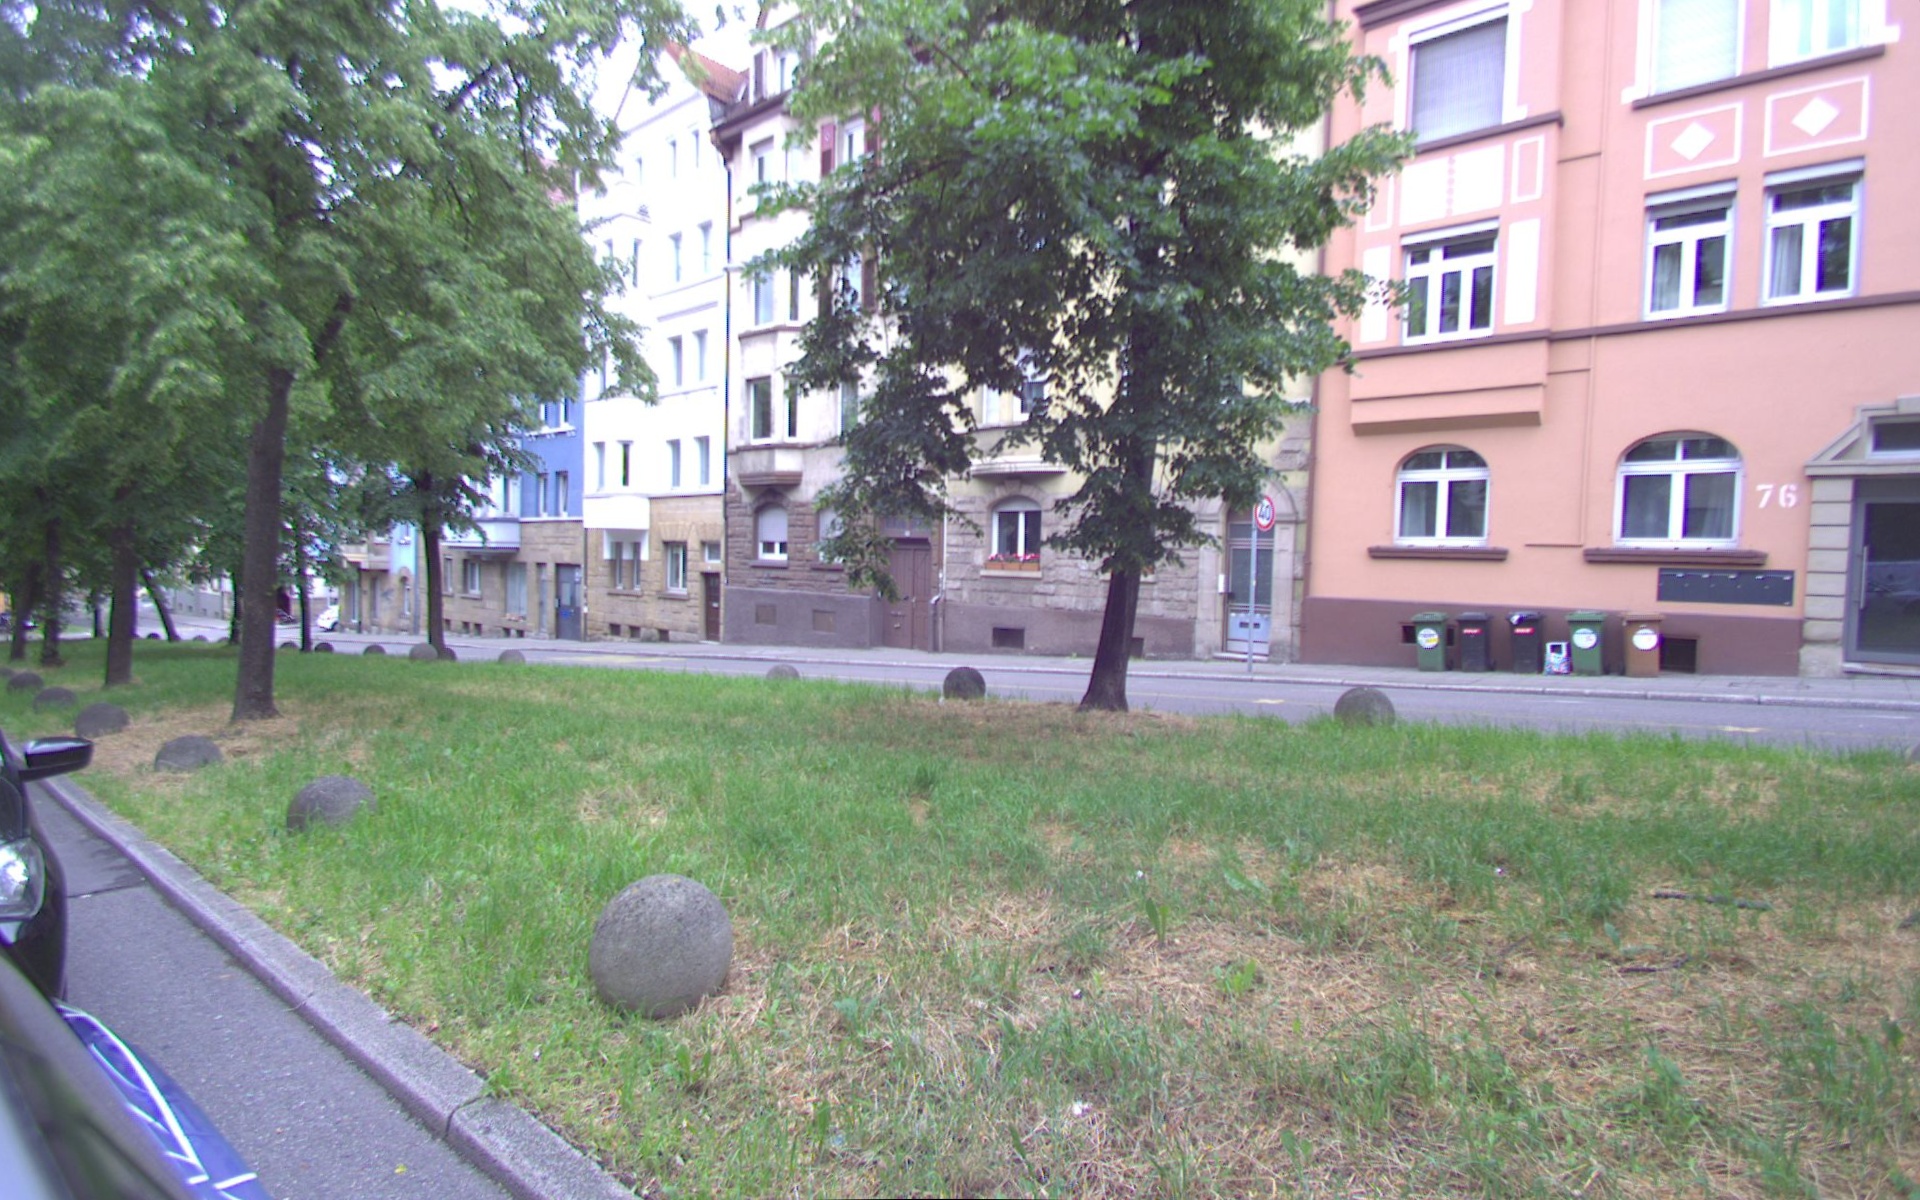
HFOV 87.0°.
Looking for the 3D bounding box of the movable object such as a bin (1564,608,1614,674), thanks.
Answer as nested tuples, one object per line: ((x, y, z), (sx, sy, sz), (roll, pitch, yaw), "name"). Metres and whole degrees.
((9.164, 0.589, 14.742), (0.558, 0.928, 0.648), (-1, 0, 36), "movable object such as a bin")

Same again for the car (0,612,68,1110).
((-4.522, 0.775, 3.599), (3.295, 1.476, 1.590), (-1, -2, 41), "car")

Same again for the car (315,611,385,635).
((-35.232, 1.306, 58.493), (3.244, 1.341, 1.674), (-1, 0, -40), "car")

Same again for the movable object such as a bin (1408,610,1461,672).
((7.568, 0.645, 16.144), (0.617, 0.955, 0.610), (-1, 0, 40), "movable object such as a bin")

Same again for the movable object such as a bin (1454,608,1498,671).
((8.025, 0.600, 15.747), (0.531, 0.953, 0.575), (-1, 0, 35), "movable object such as a bin")

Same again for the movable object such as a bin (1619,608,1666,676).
((9.665, 0.583, 14.318), (0.514, 0.928, 0.750), (-1, 0, 36), "movable object such as a bin")
